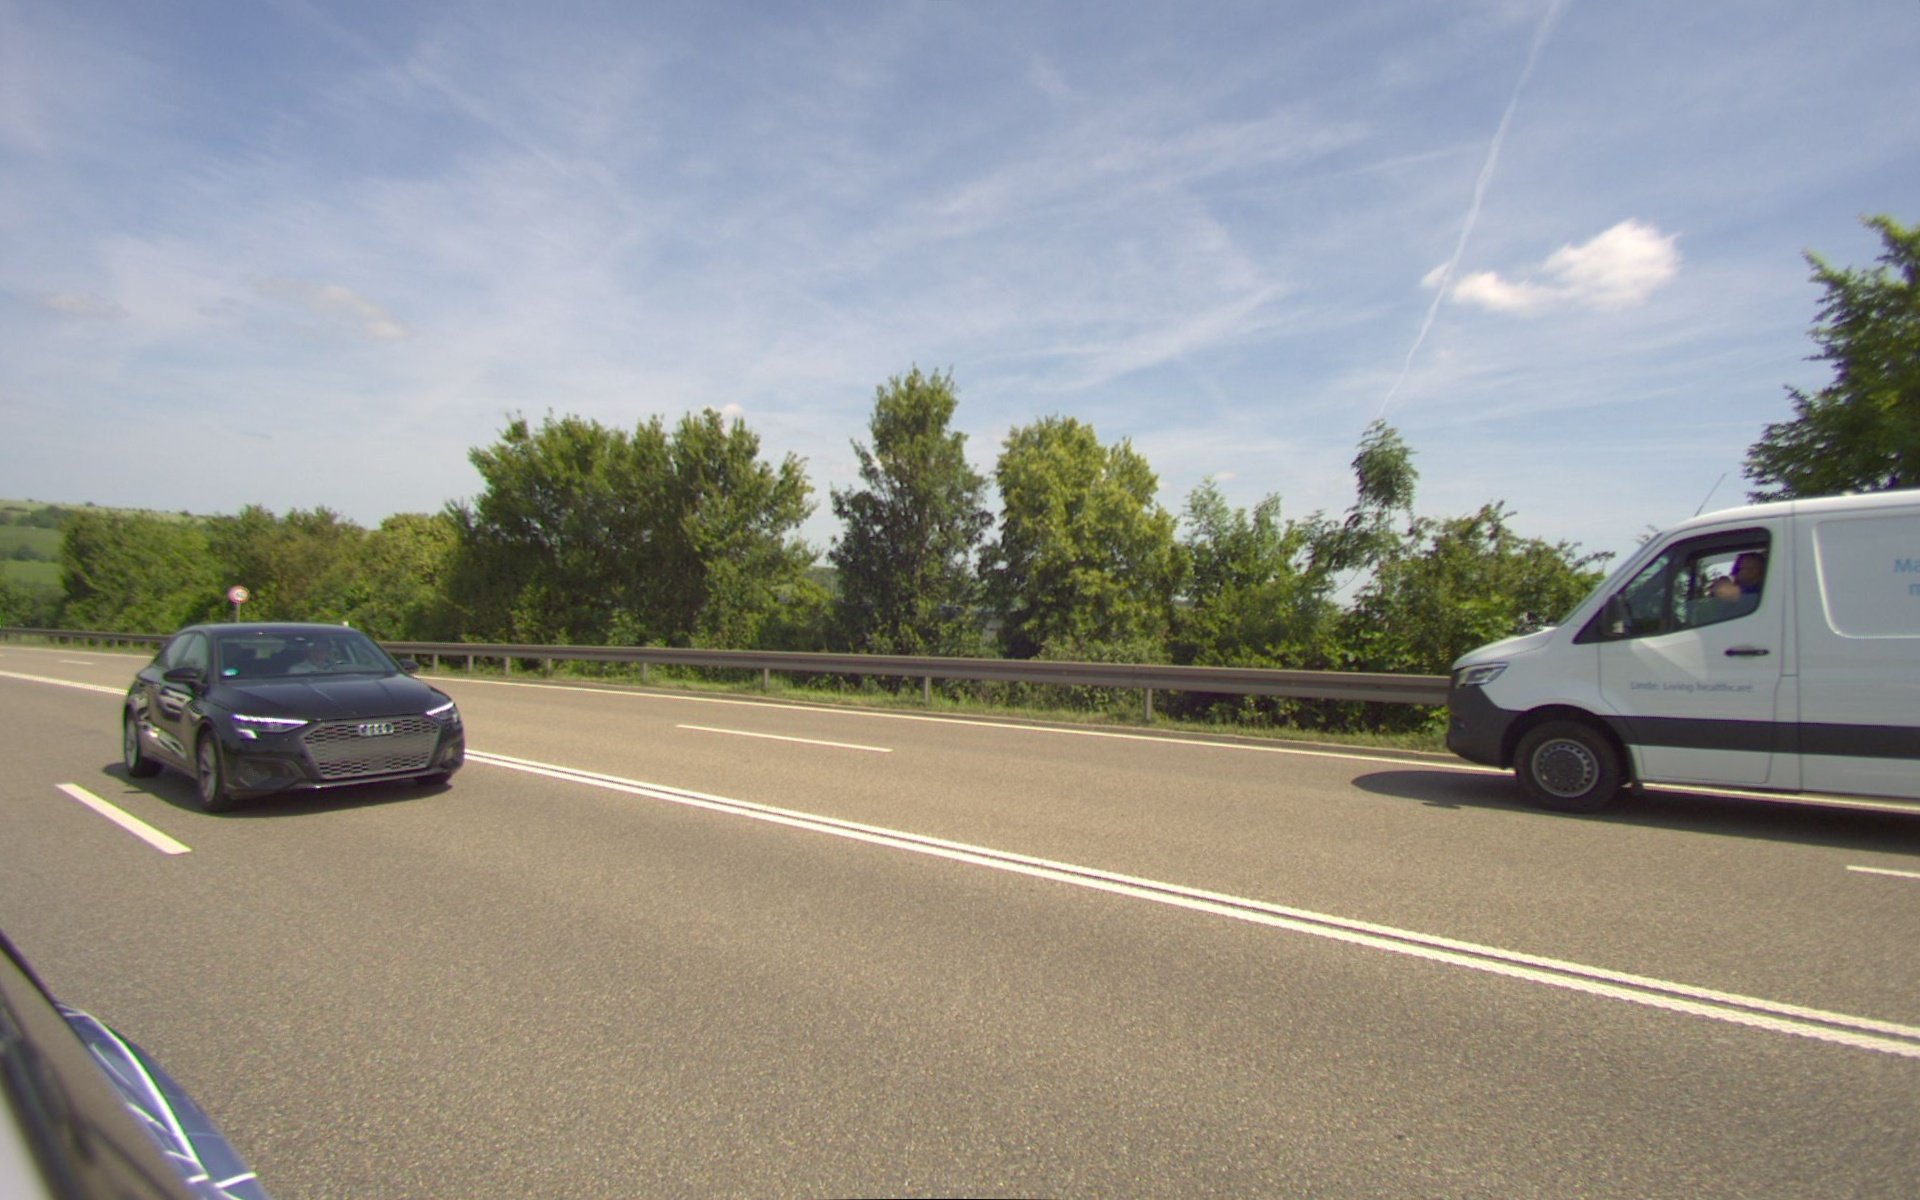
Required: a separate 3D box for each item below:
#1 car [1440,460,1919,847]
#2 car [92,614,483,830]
[{"bbox_3d":[6.757,0.346,7.036,5.840,2.413,2.067,-1,-2,41],"label":"car"},{"bbox_3d":[-6.266,0.886,9.175,4.807,1.483,1.688,-1,-2,40],"label":"car"}]
